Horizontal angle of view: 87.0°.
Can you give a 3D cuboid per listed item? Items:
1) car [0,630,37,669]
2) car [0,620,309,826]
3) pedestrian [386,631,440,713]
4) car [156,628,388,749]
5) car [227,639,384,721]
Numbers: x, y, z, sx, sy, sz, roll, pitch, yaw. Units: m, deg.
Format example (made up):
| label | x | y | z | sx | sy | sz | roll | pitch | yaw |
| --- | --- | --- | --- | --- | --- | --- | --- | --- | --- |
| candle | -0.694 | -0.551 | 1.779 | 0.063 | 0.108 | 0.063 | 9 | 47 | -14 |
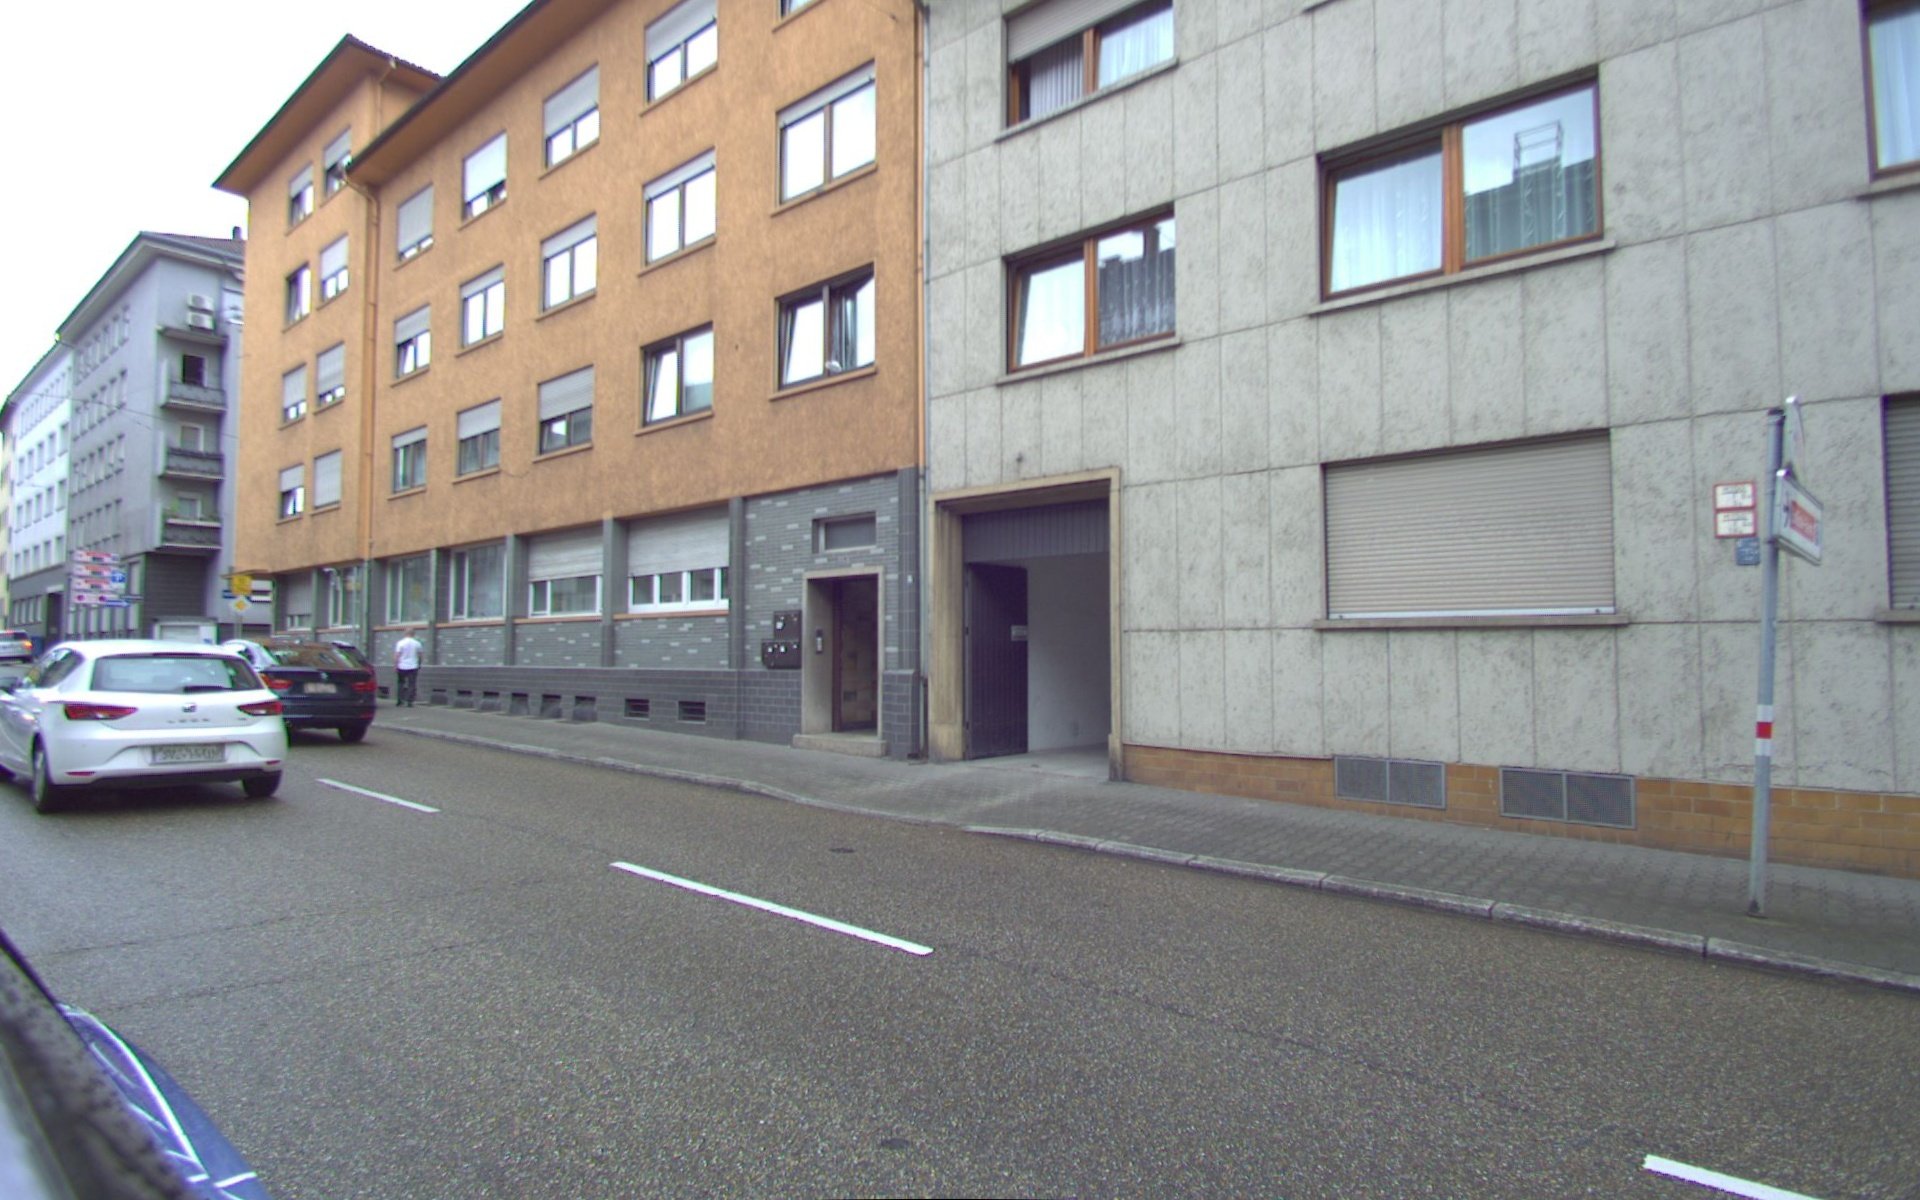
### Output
| label | x | y | z | sx | sy | sz | roll | pitch | yaw |
| --- | --- | --- | --- | --- | --- | --- | --- | --- | --- |
| car | -46.477 | 2.374 | 49.279 | 4.216 | 1.735 | 1.832 | -1 | 0 | 41 |
| car | -7.975 | 1.015 | 9.694 | 4.049 | 1.551 | 1.727 | -1 | -4 | 40 |
| pedestrian | -11.689 | 1.510 | 21.618 | 0.757 | 1.652 | 1.024 | -1 | 0 | -44 |
| car | -10.584 | 1.297 | 15.453 | 4.433 | 1.551 | 1.677 | -1 | -6 | 40 |
| car | -14.249 | 1.644 | 21.944 | 4.216 | 1.485 | 1.776 | -1 | 0 | 41 |
